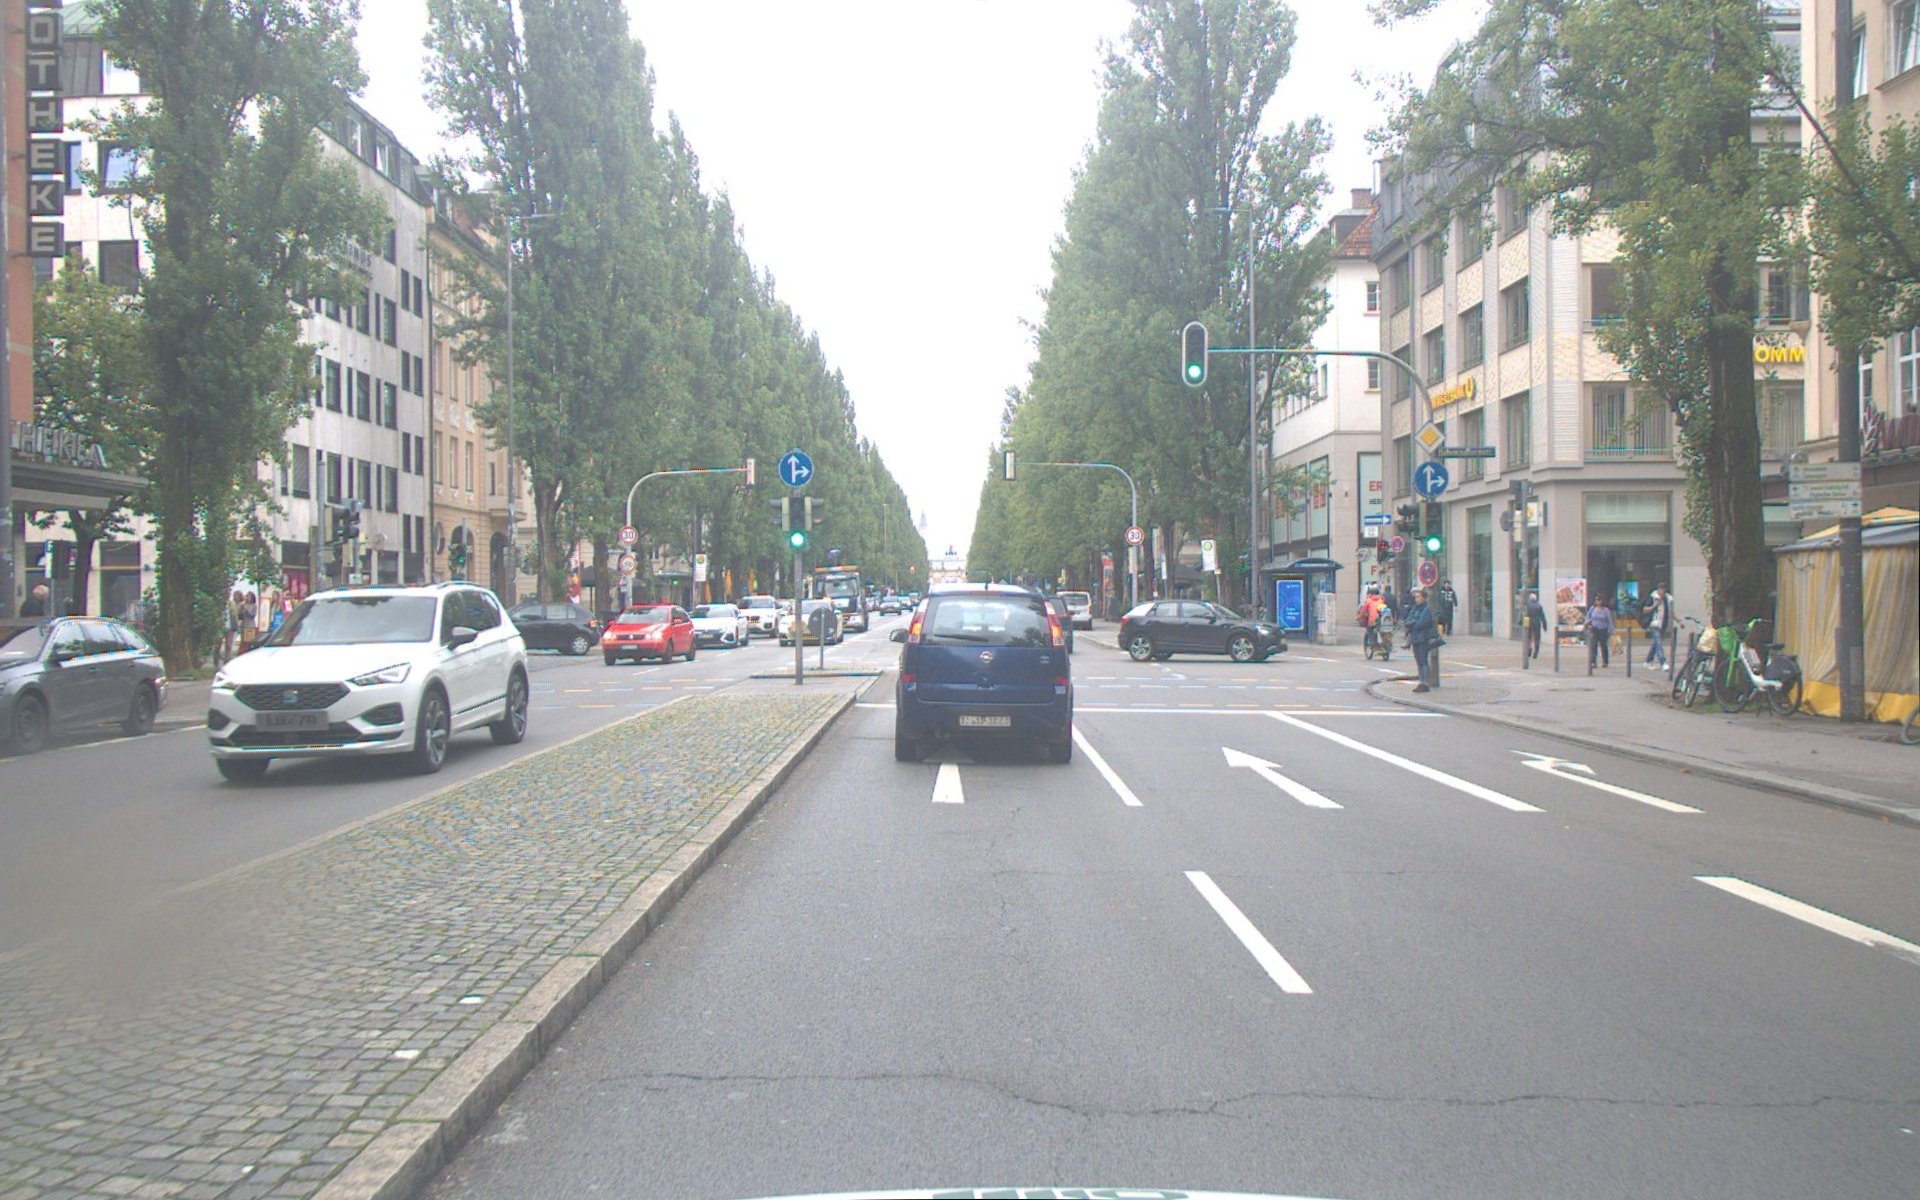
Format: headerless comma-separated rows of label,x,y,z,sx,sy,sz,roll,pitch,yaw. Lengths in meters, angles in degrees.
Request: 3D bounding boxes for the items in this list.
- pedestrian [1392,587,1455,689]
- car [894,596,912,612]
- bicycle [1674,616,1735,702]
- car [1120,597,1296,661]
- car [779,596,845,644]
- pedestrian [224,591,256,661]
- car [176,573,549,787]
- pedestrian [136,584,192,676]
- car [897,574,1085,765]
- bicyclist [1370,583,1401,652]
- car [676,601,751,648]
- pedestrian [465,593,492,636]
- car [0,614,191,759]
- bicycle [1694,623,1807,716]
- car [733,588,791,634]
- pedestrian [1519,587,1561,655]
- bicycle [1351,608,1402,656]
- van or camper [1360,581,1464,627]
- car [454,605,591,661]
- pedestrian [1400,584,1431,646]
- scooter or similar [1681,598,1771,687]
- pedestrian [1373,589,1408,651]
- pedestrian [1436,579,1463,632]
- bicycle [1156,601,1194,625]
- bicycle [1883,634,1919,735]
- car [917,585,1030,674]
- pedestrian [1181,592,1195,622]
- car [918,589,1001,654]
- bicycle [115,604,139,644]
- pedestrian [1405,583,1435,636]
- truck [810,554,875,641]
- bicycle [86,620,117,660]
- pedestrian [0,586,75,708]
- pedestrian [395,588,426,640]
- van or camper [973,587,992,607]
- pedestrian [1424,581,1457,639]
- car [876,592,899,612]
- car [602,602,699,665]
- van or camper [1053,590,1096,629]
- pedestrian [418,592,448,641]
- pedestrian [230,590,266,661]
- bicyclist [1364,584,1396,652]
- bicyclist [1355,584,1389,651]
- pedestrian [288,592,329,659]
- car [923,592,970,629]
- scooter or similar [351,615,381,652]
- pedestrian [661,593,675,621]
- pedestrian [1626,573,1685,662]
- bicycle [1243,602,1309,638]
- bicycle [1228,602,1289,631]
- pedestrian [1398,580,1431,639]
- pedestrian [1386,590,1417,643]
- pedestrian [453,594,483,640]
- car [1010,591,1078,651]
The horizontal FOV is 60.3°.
pedestrian,7.620,0.612,27.217,0.750,1.638,0.863,-1,0,-4
car,-6.289,0.397,183.224,1.896,1.651,4.336,-2,0,-1
bicycle,10.149,0.786,22.578,0.396,1.088,1.812,5,1,15
car,6.085,0.690,40.618,3.909,1.487,1.757,0,0,27
car,-4.970,0.652,56.182,1.806,1.528,4.985,-1,0,-1
pedestrian,-17.909,0.641,41.144,0.574,1.720,0.514,0,0,-1
car,-5.396,0.638,15.659,1.806,1.664,4.575,-2,0,0
pedestrian,-15.696,0.586,32.640,0.709,1.802,0.778,0,0,1
car,0.230,0.604,16.578,1.647,1.670,3.999,0,0,-1
bicyclist,10.108,0.420,39.265,0.609,1.616,0.391,-1,0,-1
car,-8.092,0.770,54.685,1.786,1.432,4.632,-1,0,-1
pedestrian,-18.652,0.570,64.102,0.762,1.647,0.934,-1,0,-1
car,-10.655,0.924,18.813,1.668,1.463,4.589,-2,0,0
bicycle,9.723,0.834,20.403,0.498,1.066,1.769,0,0,-2
car,-8.066,0.429,67.761,1.799,1.746,4.635,-1,0,0
pedestrian,14.569,0.524,41.561,0.734,1.665,0.734,-2,-2,2
bicycle,10.095,0.770,40.195,0.614,1.106,2.263,-1,0,-1
van or camper,19.643,0.174,71.980,4.018,1.899,1.899,1,0,3
car,-12.436,0.918,46.982,3.636,1.501,1.763,-1,0,-19
pedestrian,13.188,0.432,47.910,0.694,1.788,0.752,0,0,1
scooter or similar,11.273,0.608,24.369,0.400,1.265,1.365,0,0,-16
pedestrian,12.965,0.591,49.860,0.801,1.849,0.890,0,0,-2
pedestrian,16.632,0.199,56.213,0.734,1.788,0.711,0,0,1
bicycle,10.174,0.602,78.281,1.707,1.130,0.447,0,0,-11
bicycle,9.915,0.858,16.392,0.498,0.992,1.769,0,0,-2
car,0.196,0.498,30.631,1.953,1.524,3.999,-1,0,-1
pedestrian,14.436,0.431,104.684,0.809,1.873,1.100,-1,0,3
car,-0.050,0.507,41.524,1.953,1.524,3.999,0,0,-1
bicycle,-25.768,0.745,51.171,0.409,1.205,1.997,0,0,-19
pedestrian,15.631,0.313,56.165,0.734,1.788,1.017,0,0,1
truck,-5.291,-0.140,75.720,2.413,3.734,8.439,-1,0,0
bicycle,-26.836,1.229,51.736,0.442,1.205,2.054,0,0,-16
pedestrian,-14.354,0.710,25.508,0.719,1.827,0.993,1,-1,18
pedestrian,-19.536,0.475,58.812,0.783,1.818,0.912,1,0,0
van or camper,3.026,-0.400,221.287,2.426,2.626,5.844,-1,0,0
pedestrian,14.825,0.317,51.064,0.734,1.789,0.859,-1,-2,1
car,-6.434,0.194,146.774,1.874,1.710,4.585,0,0,-1
car,-7.711,0.802,41.460,1.701,1.462,3.823,-1,0,0
van or camper,5.839,0.475,84.603,1.830,1.916,4.902,0,0,-1
pedestrian,-18.754,0.591,58.900,0.717,1.711,0.977,1,0,0
pedestrian,-17.445,0.630,40.535,0.616,1.718,0.519,1,-1,1
bicyclist,10.095,0.423,39.745,0.609,1.616,0.481,-1,0,-1
bicyclist,10.084,0.427,40.523,0.609,1.616,0.753,-1,0,-1
pedestrian,-17.677,0.687,44.896,0.712,1.771,0.942,1,-1,-1
car,-0.608,0.436,70.721,1.953,1.524,3.999,0,0,-1
scooter or similar,-18.244,1.032,50.794,0.797,1.112,0.274,1,-1,-5
pedestrian,-18.234,0.447,103.365,0.719,1.702,0.952,0,0,-1
pedestrian,13.738,0.358,32.684,0.660,1.732,0.848,1,-3,-39
bicycle,11.468,0.734,60.092,2.295,1.274,0.633,0,0,-1
bicycle,11.156,0.617,61.843,2.104,1.035,0.874,0,0,-1
pedestrian,14.046,0.305,51.132,0.734,1.789,0.859,-1,-2,1
pedestrian,14.380,0.526,53.902,0.734,1.706,0.963,-1,0,1
pedestrian,-17.254,0.596,58.034,0.735,1.594,0.989,1,-1,1
car,2.352,0.565,47.286,1.671,1.601,3.999,-1,0,-1
